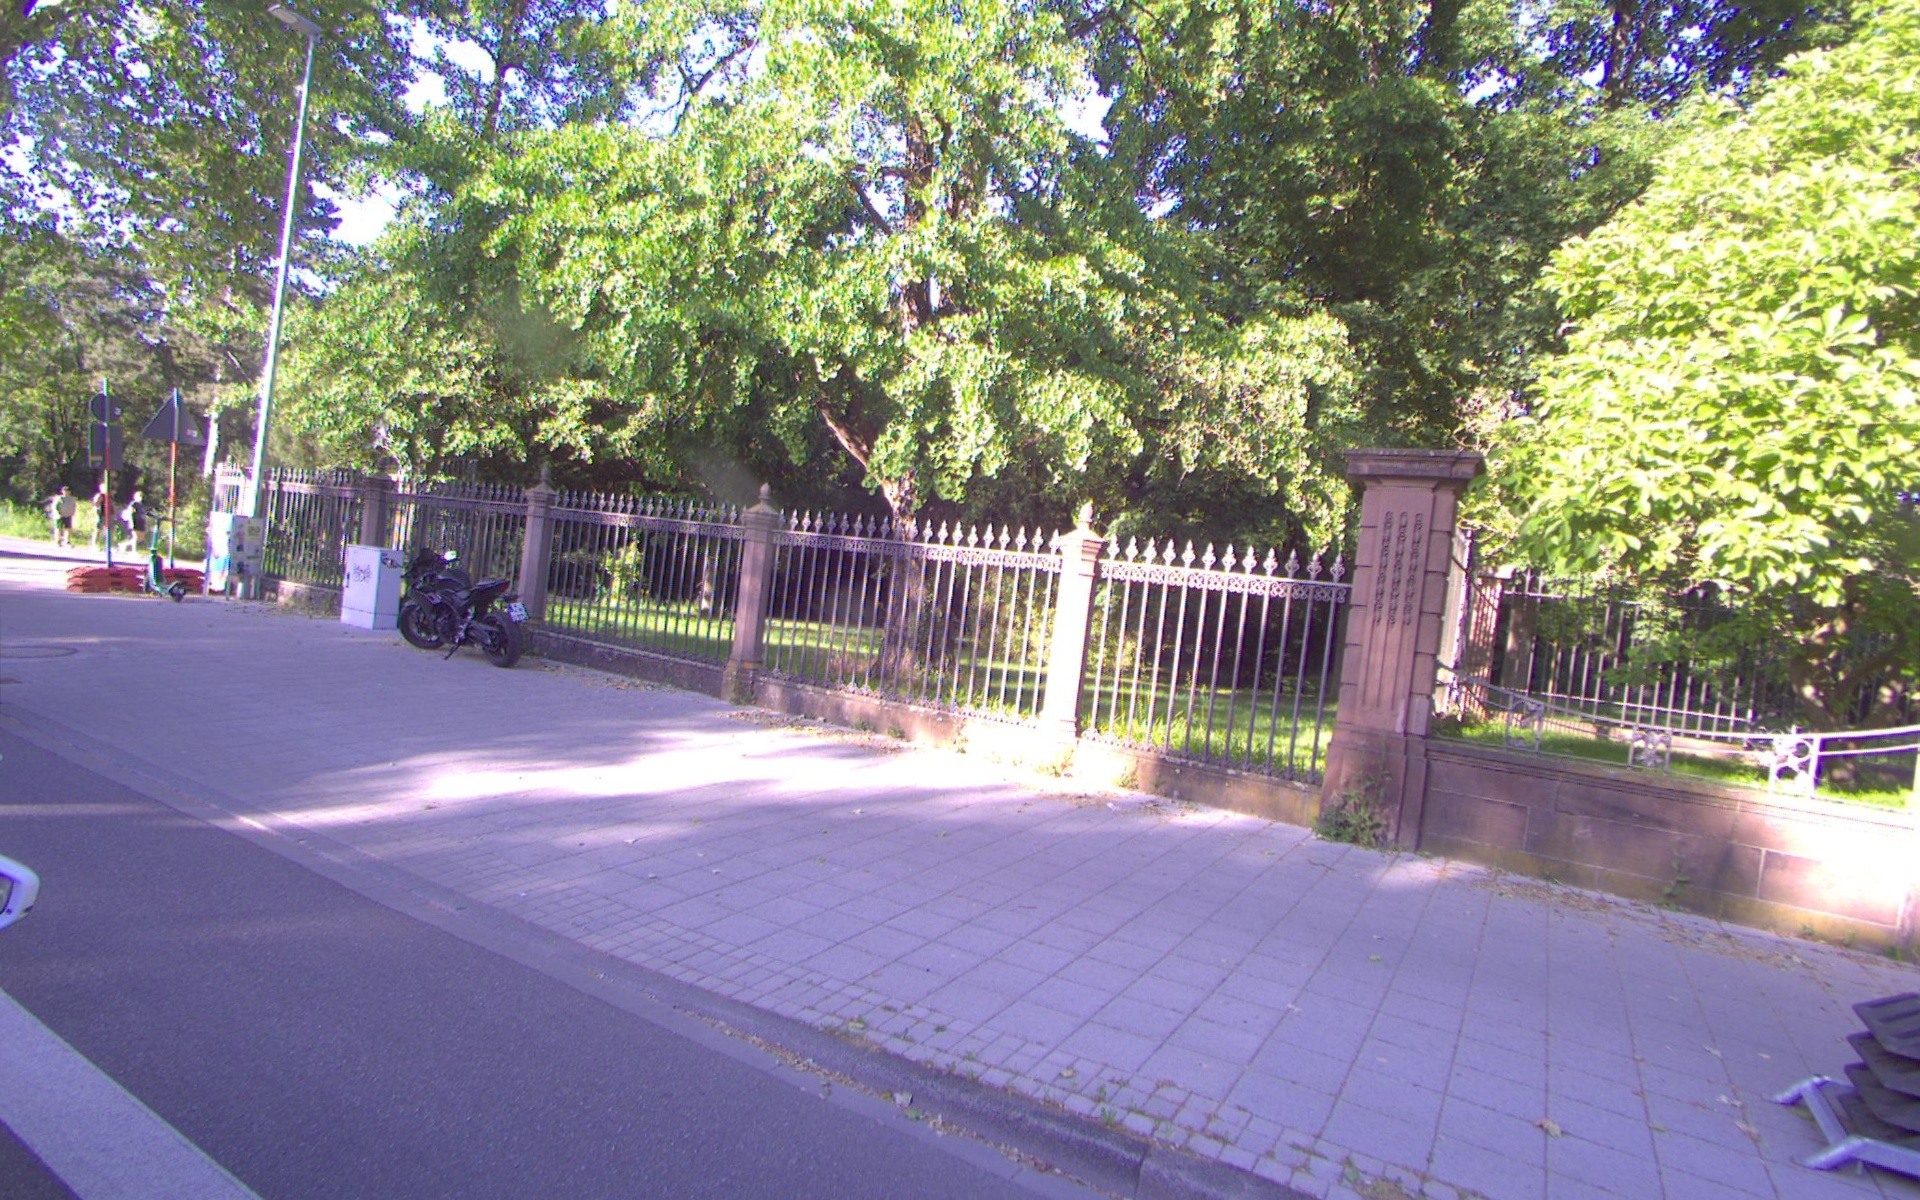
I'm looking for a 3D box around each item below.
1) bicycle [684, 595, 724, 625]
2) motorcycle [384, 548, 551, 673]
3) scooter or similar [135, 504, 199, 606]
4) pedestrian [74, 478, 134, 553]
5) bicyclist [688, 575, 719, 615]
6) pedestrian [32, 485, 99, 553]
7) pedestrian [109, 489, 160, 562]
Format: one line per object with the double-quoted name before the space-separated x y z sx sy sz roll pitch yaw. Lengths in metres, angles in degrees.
"bicycle" -10.106 0.396 39.749 0.466 1.026 1.621 7 -1 26
"motorcycle" -5.494 0.096 11.165 2.134 1.146 0.506 7 2 30
"scooter or similar" -11.275 -0.651 14.298 1.152 1.344 0.228 7 2 30
"pedestrian" -22.362 -2.194 26.288 0.817 1.794 0.819 7 1 25
"bicyclist" -10.086 -0.191 39.601 0.654 1.448 0.784 7 -1 26
"pedestrian" -22.554 -2.039 25.374 0.899 1.536 0.821 7 -1 20
"pedestrian" -20.983 -1.888 25.570 0.632 1.721 0.690 7 2 25
